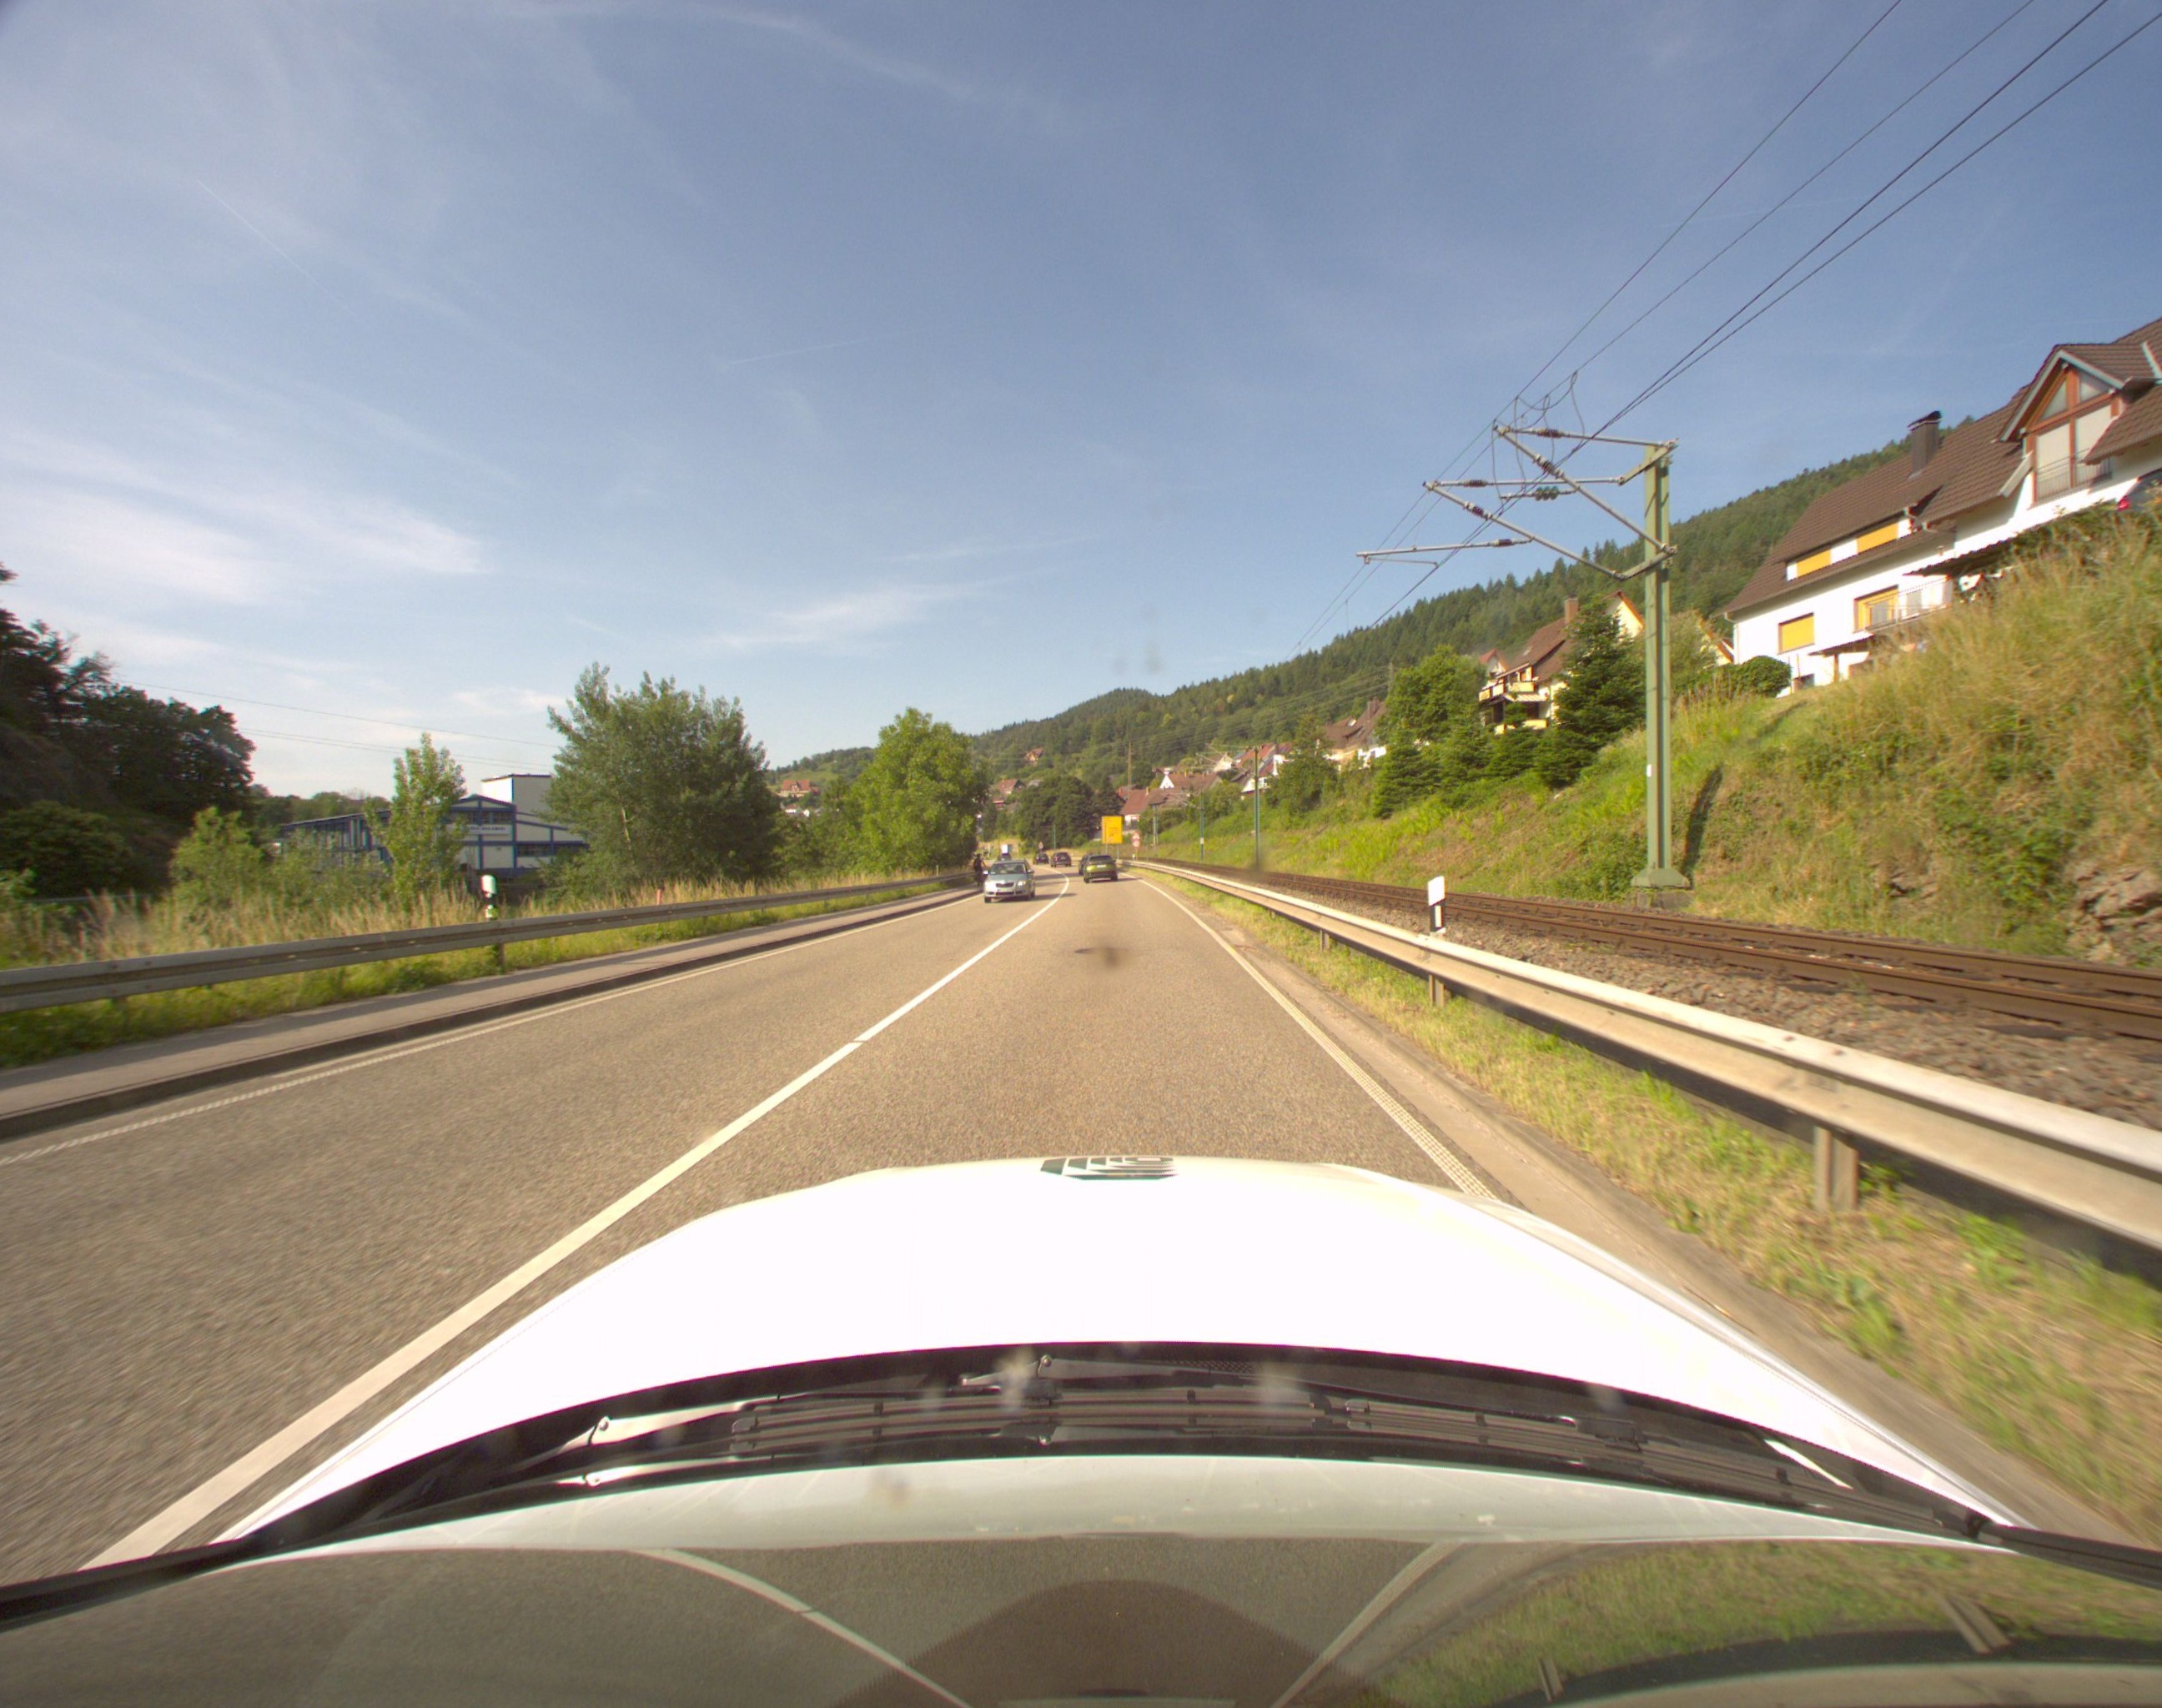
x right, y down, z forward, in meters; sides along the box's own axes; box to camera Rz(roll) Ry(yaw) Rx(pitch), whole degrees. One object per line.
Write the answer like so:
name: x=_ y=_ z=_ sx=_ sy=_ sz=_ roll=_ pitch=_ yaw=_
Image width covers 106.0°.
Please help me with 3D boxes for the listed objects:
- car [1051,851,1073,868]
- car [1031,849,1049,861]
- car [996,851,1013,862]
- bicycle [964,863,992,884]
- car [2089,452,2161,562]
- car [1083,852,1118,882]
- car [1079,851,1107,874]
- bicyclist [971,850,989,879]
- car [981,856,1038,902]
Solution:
car: x=-2.059 y=0.569 z=87.609 sx=1.879 sy=1.686 sz=3.989 roll=-1 pitch=0 yaw=-8
car: x=-5.485 y=0.067 z=108.501 sx=1.849 sy=1.527 sz=3.649 roll=-2 pitch=1 yaw=-11
car: x=-13.453 y=0.444 z=142.573 sx=2.068 sy=1.811 sz=3.977 roll=-4 pitch=0 yaw=-17
bicycle: x=-5.650 y=1.065 z=44.809 sx=0.553 sy=1.045 sz=2.240 roll=1 pitch=1 yaw=20
car: x=21.441 y=-6.489 z=15.067 sx=3.735 sy=1.540 sz=1.749 roll=1 pitch=-1 yaw=-6
car: x=1.067 y=0.669 z=44.022 sx=1.708 sy=1.455 sz=4.002 roll=-3 pitch=0 yaw=2
car: x=0.819 y=0.592 z=58.503 sx=1.664 sy=1.559 sz=3.994 roll=-2 pitch=0 yaw=-5
bicyclist: x=-5.591 y=0.584 z=44.913 sx=0.553 sy=1.586 sz=1.041 roll=1 pitch=1 yaw=20
car: x=-2.574 y=0.871 z=30.201 sx=1.572 sy=1.479 sz=4.002 roll=-3 pitch=0 yaw=2
